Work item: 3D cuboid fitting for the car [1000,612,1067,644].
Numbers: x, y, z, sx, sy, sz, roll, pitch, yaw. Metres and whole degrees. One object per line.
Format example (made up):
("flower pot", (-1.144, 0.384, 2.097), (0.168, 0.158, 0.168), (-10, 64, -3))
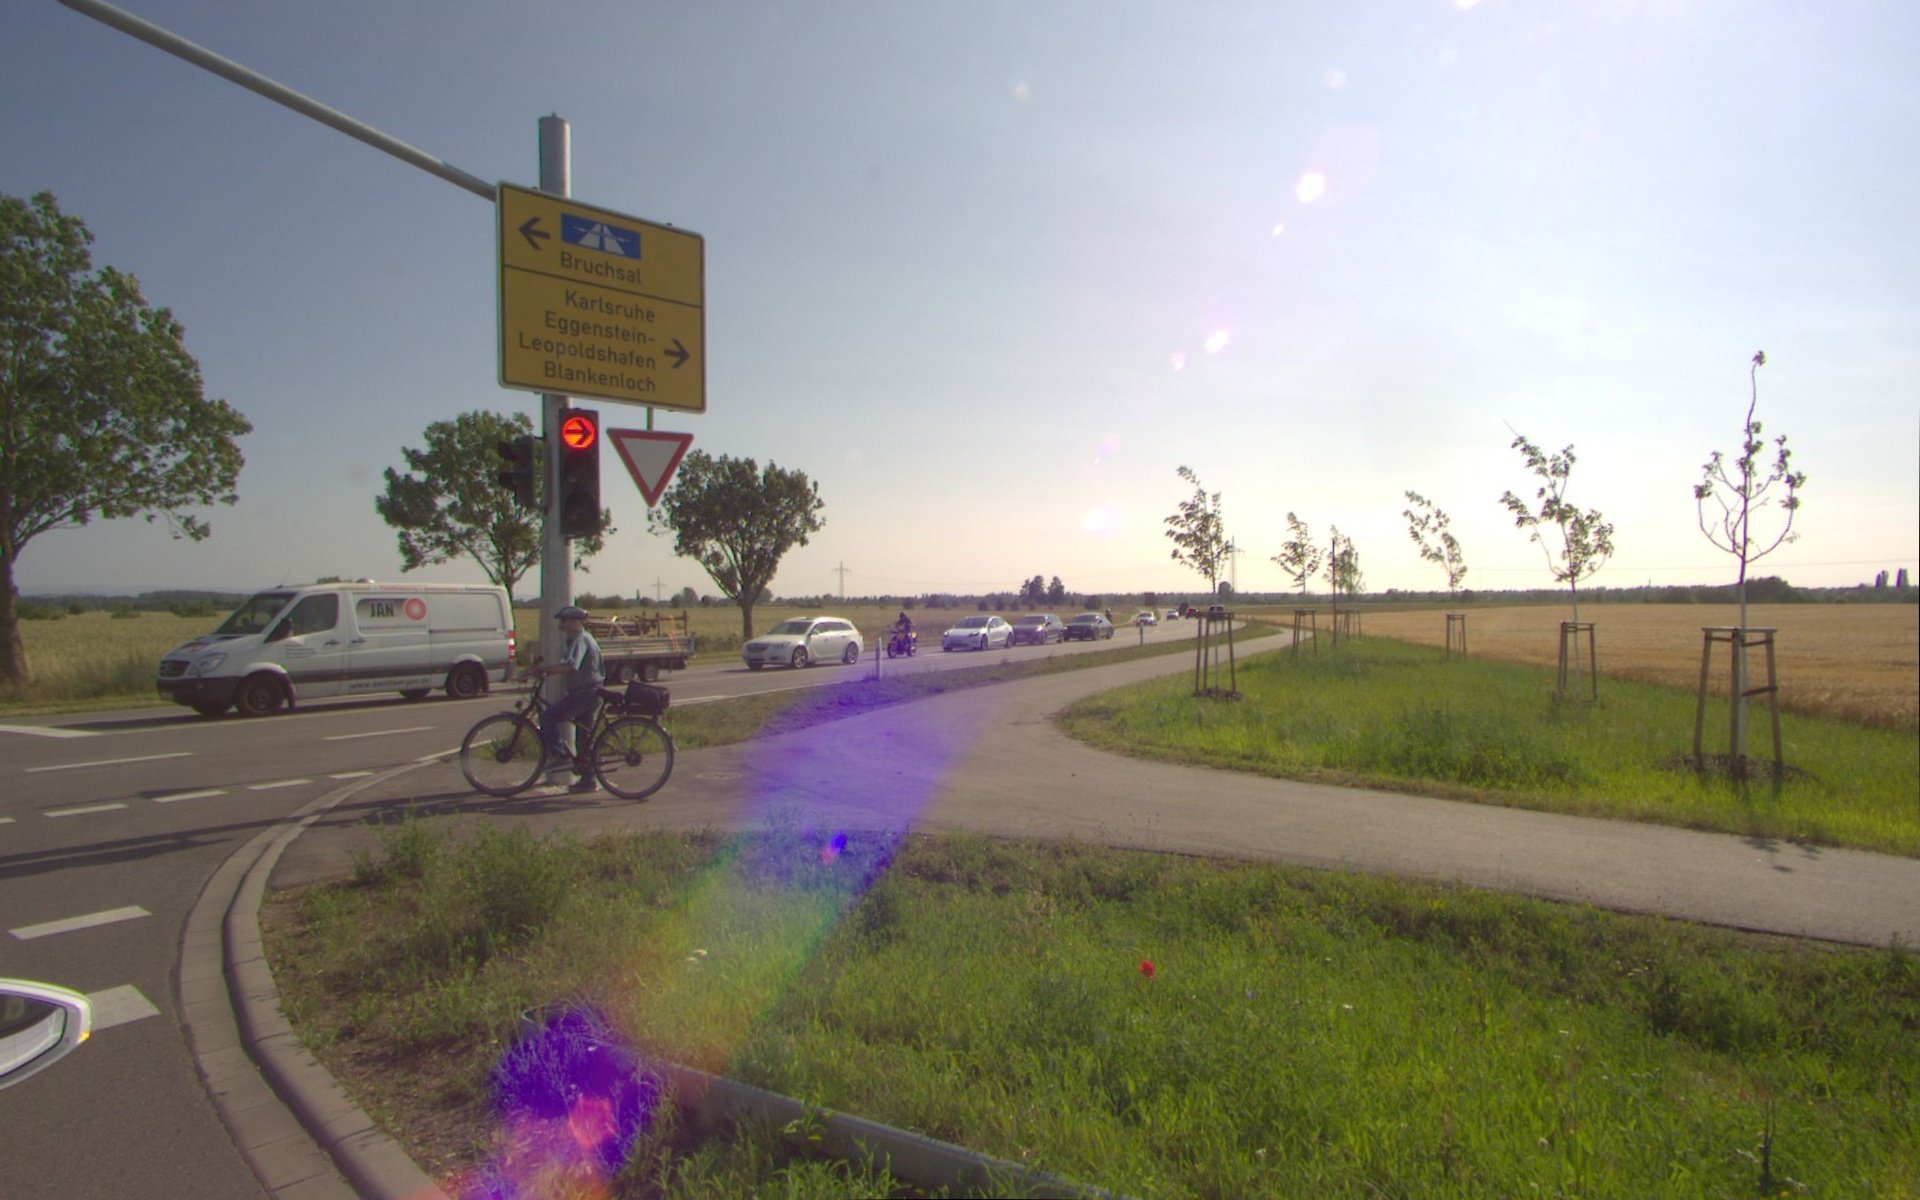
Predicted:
("car", (3.647, 1.361, 49.120), (1.866, 1.480, 4.292), (-1, -1, 25))

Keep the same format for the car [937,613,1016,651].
("car", (0.779, 1.338, 42.907), (1.865, 1.486, 4.262), (0, 0, 24))

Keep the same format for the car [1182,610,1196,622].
("car", (34.598, 2.388, 151.208), (1.942, 1.703, 4.104), (-1, -1, 12))

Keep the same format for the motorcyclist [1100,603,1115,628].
("motorcyclist", (8.977, 0.934, 60.869), (0.669, 1.515, 0.844), (-1, 0, 25))

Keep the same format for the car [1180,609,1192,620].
("car", (43.059, 2.776, 190.850), (2.022, 2.039, 4.001), (0, -2, 8))

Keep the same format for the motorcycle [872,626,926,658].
("motorcycle", (-2.206, 1.516, 36.688), (0.885, 1.057, 2.419), (-1, 0, 26))

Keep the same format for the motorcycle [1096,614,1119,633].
("motorcycle", (9.009, 1.422, 60.933), (0.859, 1.087, 1.962), (-1, -1, 25))

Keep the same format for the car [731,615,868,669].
("car", (-4.837, 1.245, 30.897), (1.738, 1.511, 4.690), (-1, -1, 27))

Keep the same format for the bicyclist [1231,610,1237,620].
("bicyclist", (40.867, 2.271, 149.328), (0.627, 1.476, 0.817), (2, 1, 2))

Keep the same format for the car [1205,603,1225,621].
("car", (27.414, 1.251, 107.529), (1.813, 1.857, 4.460), (1, 0, 18))

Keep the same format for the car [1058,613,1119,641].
("car", (7.171, 1.466, 55.534), (1.866, 1.455, 4.779), (-1, -1, 27))

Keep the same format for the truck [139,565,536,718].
("truck", (-11.463, 0.706, 19.106), (2.041, 2.436, 6.168), (-1, -1, 31))

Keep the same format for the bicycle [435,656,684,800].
("bicycle", (-3.471, 1.122, 8.849), (1.910, 1.165, 0.681), (3, -2, -13))

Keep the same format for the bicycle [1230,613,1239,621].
("bicycle", (40.860, 2.506, 149.176), (0.831, 1.157, 2.206), (2, 0, 2))

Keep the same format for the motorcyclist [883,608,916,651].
("motorcyclist", (-2.217, 1.065, 36.600), (0.670, 1.535, 1.176), (-1, 0, 27))

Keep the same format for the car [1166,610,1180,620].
("car", (30.688, 2.167, 144.366), (1.661, 1.421, 3.995), (-2, -1, 16))

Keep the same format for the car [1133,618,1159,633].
("car", (18.740, 2.527, 100.638), (1.607, 1.394, 4.410), (-3, -2, 23))

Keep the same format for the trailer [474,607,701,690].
("trailer", (-8.732, 1.080, 23.985), (1.952, 1.760, 4.989), (-2, -1, 30))

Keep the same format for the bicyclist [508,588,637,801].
("bicyclist", (-3.402, 0.828, 8.852), (0.901, 1.787, 0.619), (3, -2, -13))
